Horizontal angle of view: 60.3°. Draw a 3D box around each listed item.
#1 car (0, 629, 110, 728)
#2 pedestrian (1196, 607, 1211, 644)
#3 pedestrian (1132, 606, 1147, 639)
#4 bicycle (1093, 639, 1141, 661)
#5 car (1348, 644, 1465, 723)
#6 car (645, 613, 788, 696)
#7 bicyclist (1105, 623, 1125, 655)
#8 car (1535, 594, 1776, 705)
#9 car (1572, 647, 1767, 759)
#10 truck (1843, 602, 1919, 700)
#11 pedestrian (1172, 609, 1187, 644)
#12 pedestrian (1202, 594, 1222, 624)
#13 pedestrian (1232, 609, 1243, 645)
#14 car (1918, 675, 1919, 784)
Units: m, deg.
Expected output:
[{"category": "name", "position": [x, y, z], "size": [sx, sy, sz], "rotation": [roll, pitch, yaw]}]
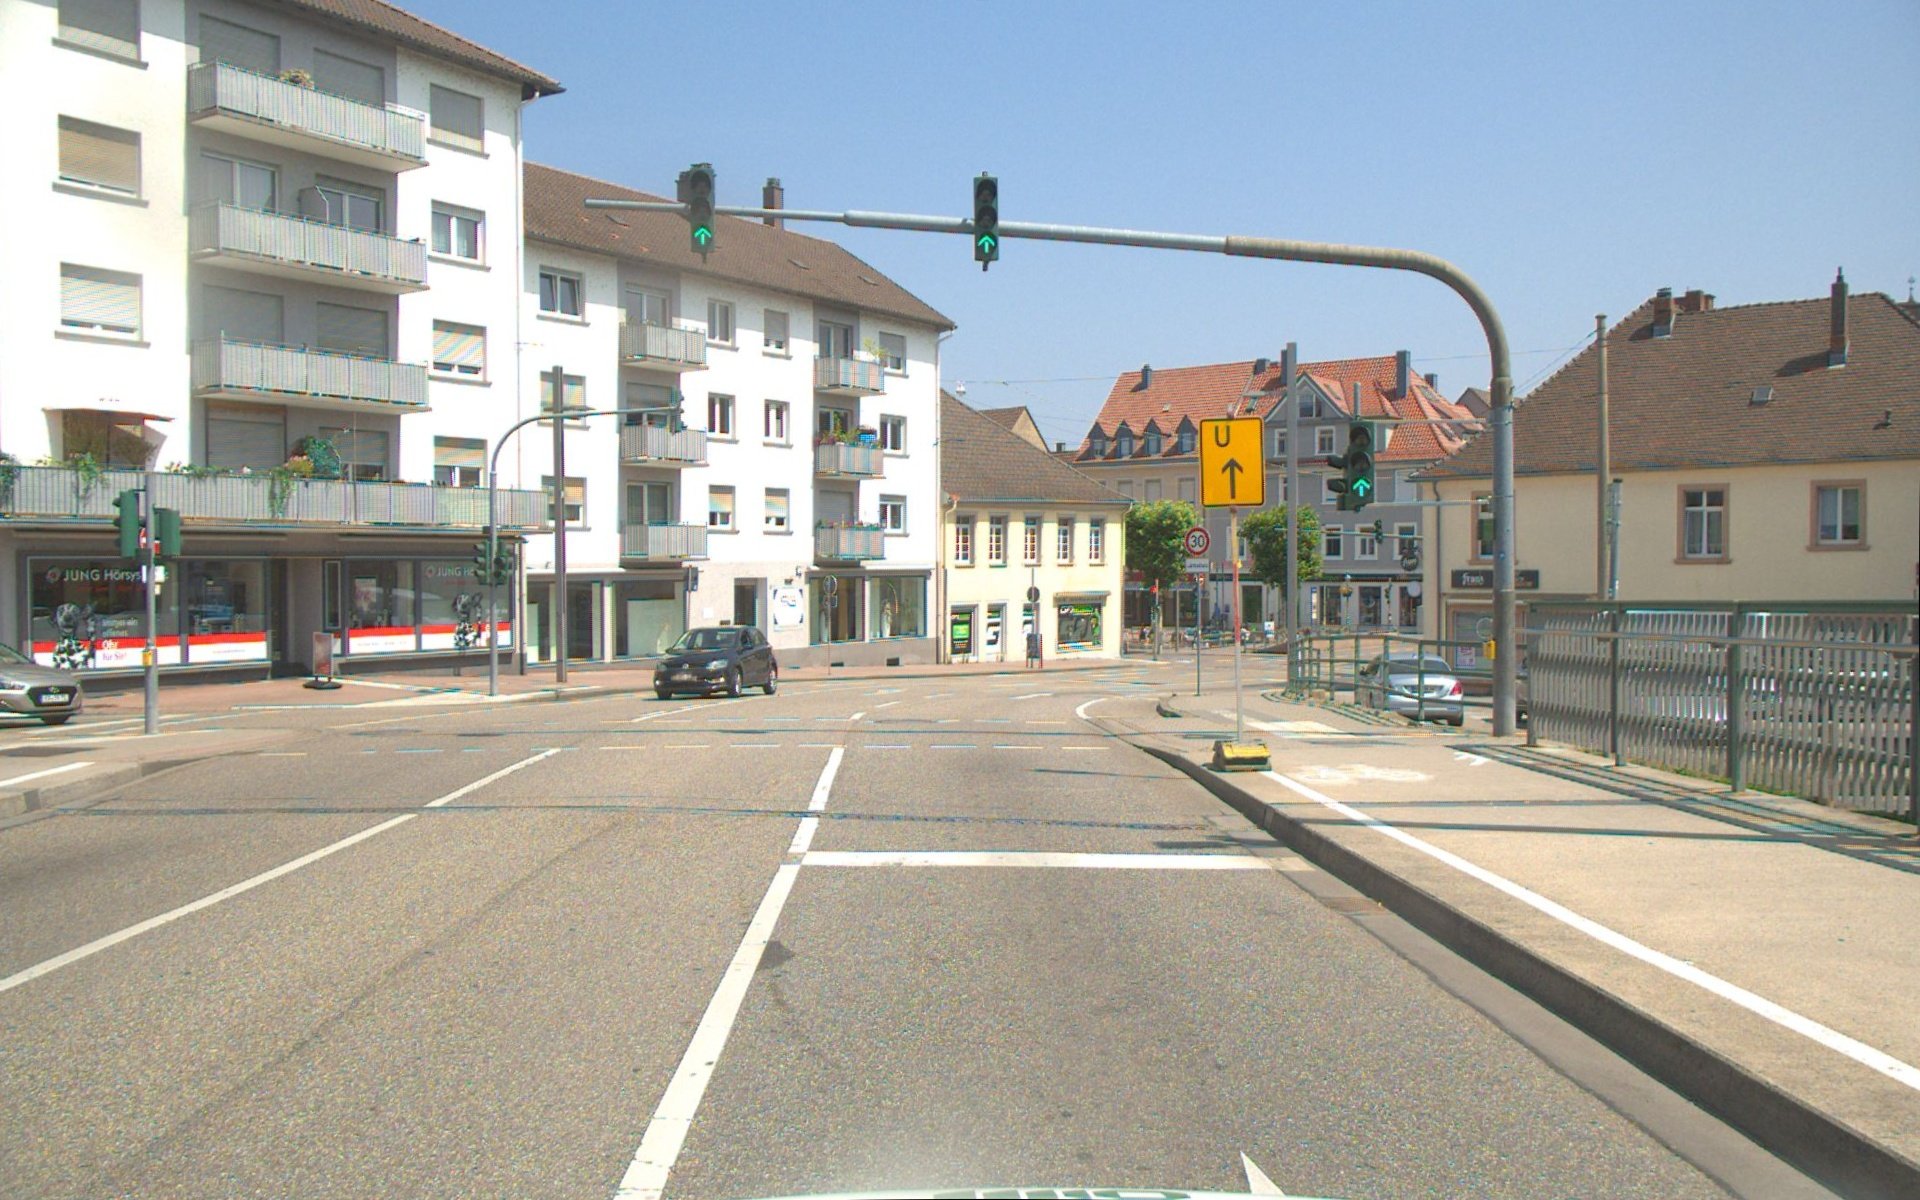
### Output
[{"category": "car", "position": [-16.081, 1.273, 26.583], "size": [4.278, 1.445, 1.703], "rotation": [-2, 0, 17]}, {"category": "pedestrian", "position": [13.862, 1.449, 94.157], "size": [0.752, 2.049, 0.562], "rotation": [1, 1, 11]}, {"category": "pedestrian", "position": [10.391, 1.302, 95.748], "size": [0.810, 1.906, 0.866], "rotation": [1, 1, 3]}, {"category": "bicycle", "position": [7.902, 2.519, 83.434], "size": [2.306, 1.069, 1.071], "rotation": [1, 1, -2]}, {"category": "car", "position": [9.548, 1.747, 35.636], "size": [1.714, 1.497, 4.256], "rotation": [1, 0, 5]}, {"category": "car", "position": [-4.844, 1.157, 33.415], "size": [1.640, 1.514, 3.957], "rotation": [-2, -4, 11]}, {"category": "bicyclist", "position": [7.826, 1.956, 83.440], "size": [0.898, 1.565, 0.649], "rotation": [1, 1, -1]}, {"category": "car", "position": [18.112, 1.219, 43.151], "size": [5.514, 2.674, 2.236], "rotation": [1, 1, 32]}, {"category": "car", "position": [12.570, 1.765, 29.614], "size": [1.887, 1.607, 4.489], "rotation": [1, 1, 5]}, {"category": "truck", "position": [23.366, 1.223, 39.360], "size": [3.985, 2.253, 1.808], "rotation": [2, 1, 33]}, {"category": "pedestrian", "position": [12.771, 1.515, 96.226], "size": [0.780, 1.999, 0.532], "rotation": [1, 1, 19]}, {"category": "pedestrian", "position": [16.919, 0.594, 111.109], "size": [1.012, 2.015, 1.017], "rotation": [1, 1, 34]}, {"category": "pedestrian", "position": [15.901, 1.528, 94.738], "size": [0.597, 2.049, 0.555], "rotation": [1, 1, 11]}, {"category": "car", "position": [13.213, 1.567, 19.282], "size": [1.854, 1.741, 4.337], "rotation": [1, 1, 5]}]
